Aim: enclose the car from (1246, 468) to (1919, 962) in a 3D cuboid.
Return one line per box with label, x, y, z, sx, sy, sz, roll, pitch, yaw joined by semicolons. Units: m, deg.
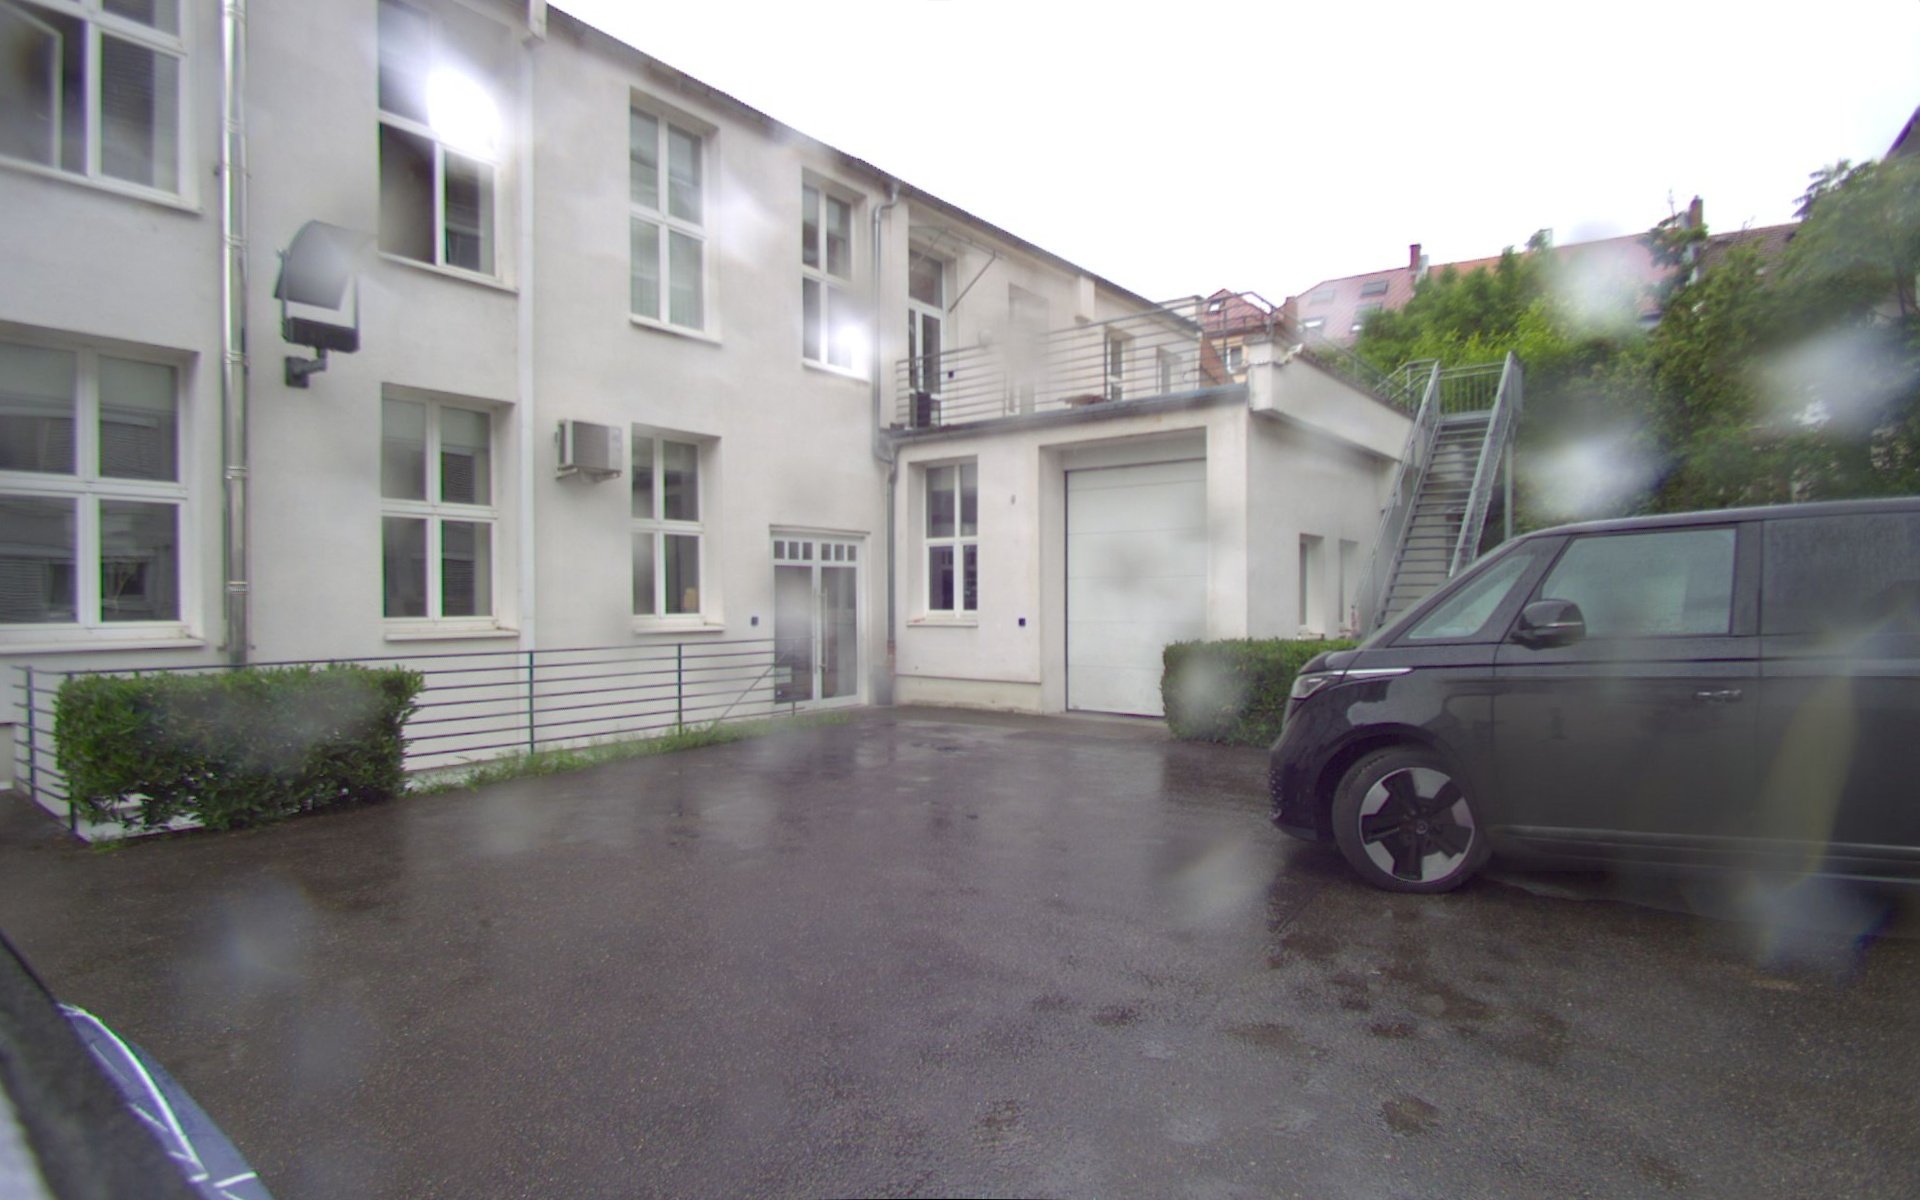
car;3.926;0.462;4.976;4.504;1.912;2.026;-1;-1;30
